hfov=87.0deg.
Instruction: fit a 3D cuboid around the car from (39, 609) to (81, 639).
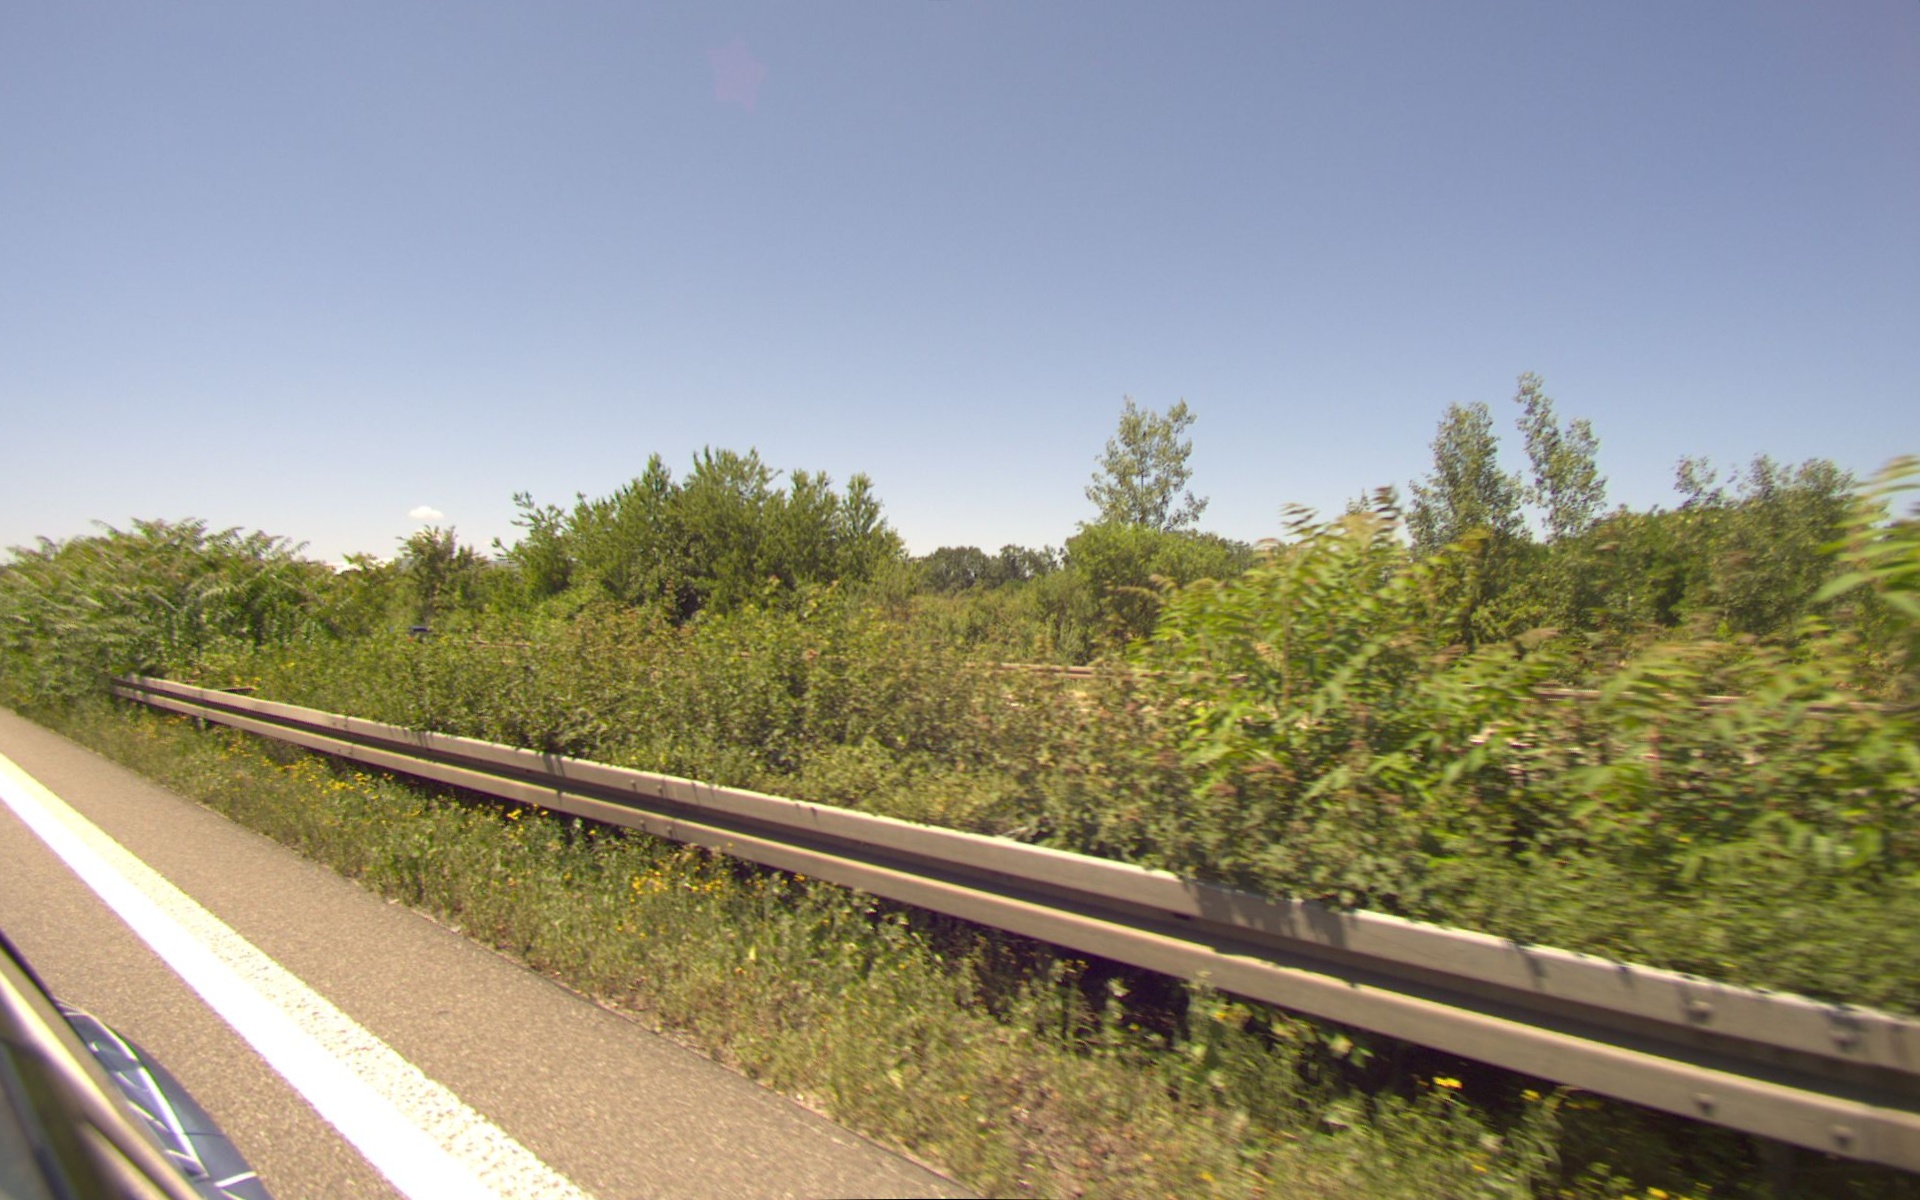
[{"bbox_3d":[-85.234,2.283,95.823,5.796,2.800,2.143,-1,-4,40],"label":"car"}]
